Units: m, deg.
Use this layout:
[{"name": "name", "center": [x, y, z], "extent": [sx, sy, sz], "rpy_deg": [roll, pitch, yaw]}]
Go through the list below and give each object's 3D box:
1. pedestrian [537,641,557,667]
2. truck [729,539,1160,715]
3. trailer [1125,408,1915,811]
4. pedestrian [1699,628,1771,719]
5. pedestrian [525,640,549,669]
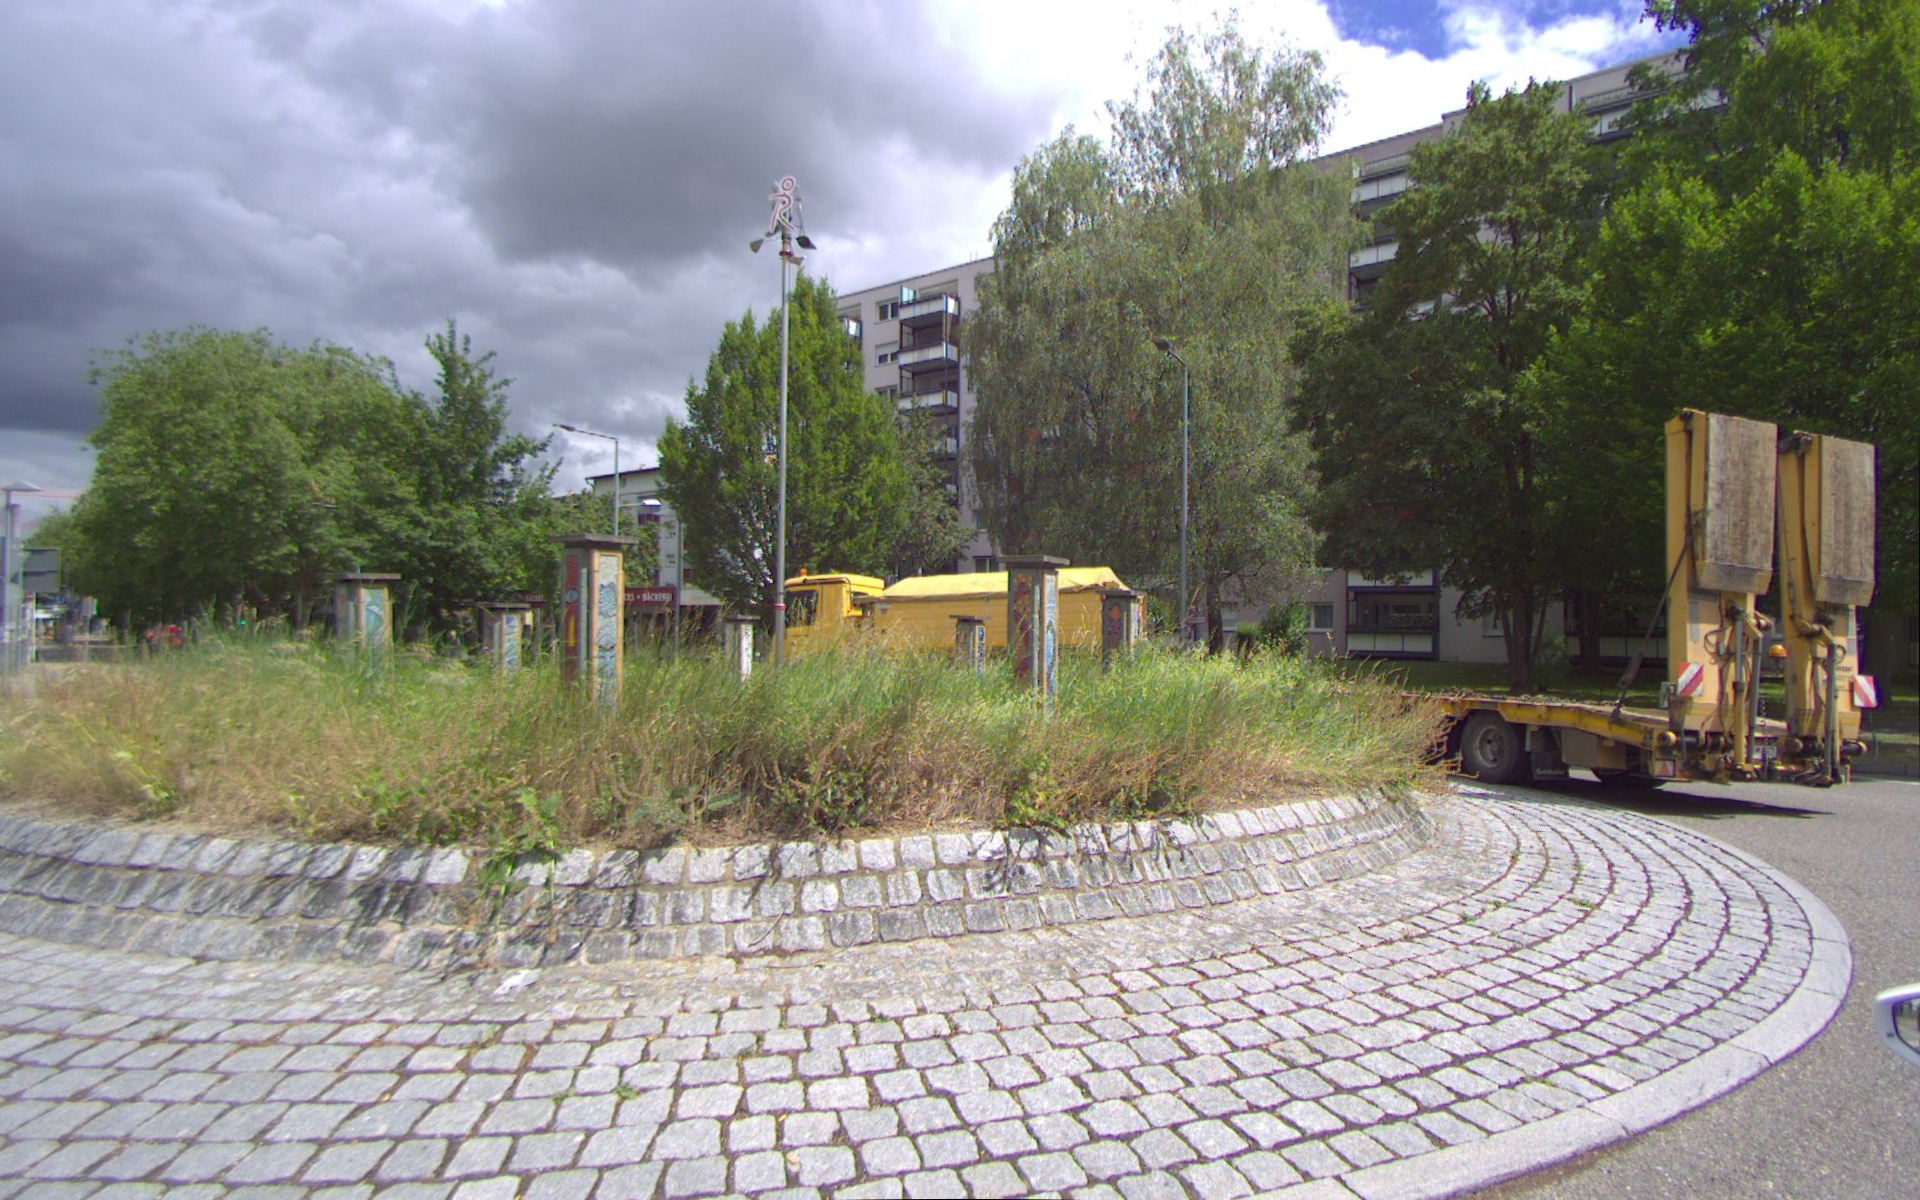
[{"name": "pedestrian", "center": [-19.813, 2.604, 48.167], "extent": [0.714, 1.217, 0.691], "rpy_deg": [1, -2, -40]}, {"name": "truck", "center": [-0.367, 0.508, 20.577], "extent": [8.322, 3.075, 2.997], "rpy_deg": [0, -1, 23]}, {"name": "trailer", "center": [5.993, 0.028, 14.129], "extent": [2.826, 3.418, 10.802], "rpy_deg": [1, 1, -16]}, {"name": "pedestrian", "center": [14.093, 1.337, 18.292], "extent": [0.826, 1.599, 0.720], "rpy_deg": [-3, -3, 27]}, {"name": "pedestrian", "center": [-19.807, 2.534, 47.038], "extent": [0.603, 1.342, 0.875], "rpy_deg": [-2, -2, 45]}]
